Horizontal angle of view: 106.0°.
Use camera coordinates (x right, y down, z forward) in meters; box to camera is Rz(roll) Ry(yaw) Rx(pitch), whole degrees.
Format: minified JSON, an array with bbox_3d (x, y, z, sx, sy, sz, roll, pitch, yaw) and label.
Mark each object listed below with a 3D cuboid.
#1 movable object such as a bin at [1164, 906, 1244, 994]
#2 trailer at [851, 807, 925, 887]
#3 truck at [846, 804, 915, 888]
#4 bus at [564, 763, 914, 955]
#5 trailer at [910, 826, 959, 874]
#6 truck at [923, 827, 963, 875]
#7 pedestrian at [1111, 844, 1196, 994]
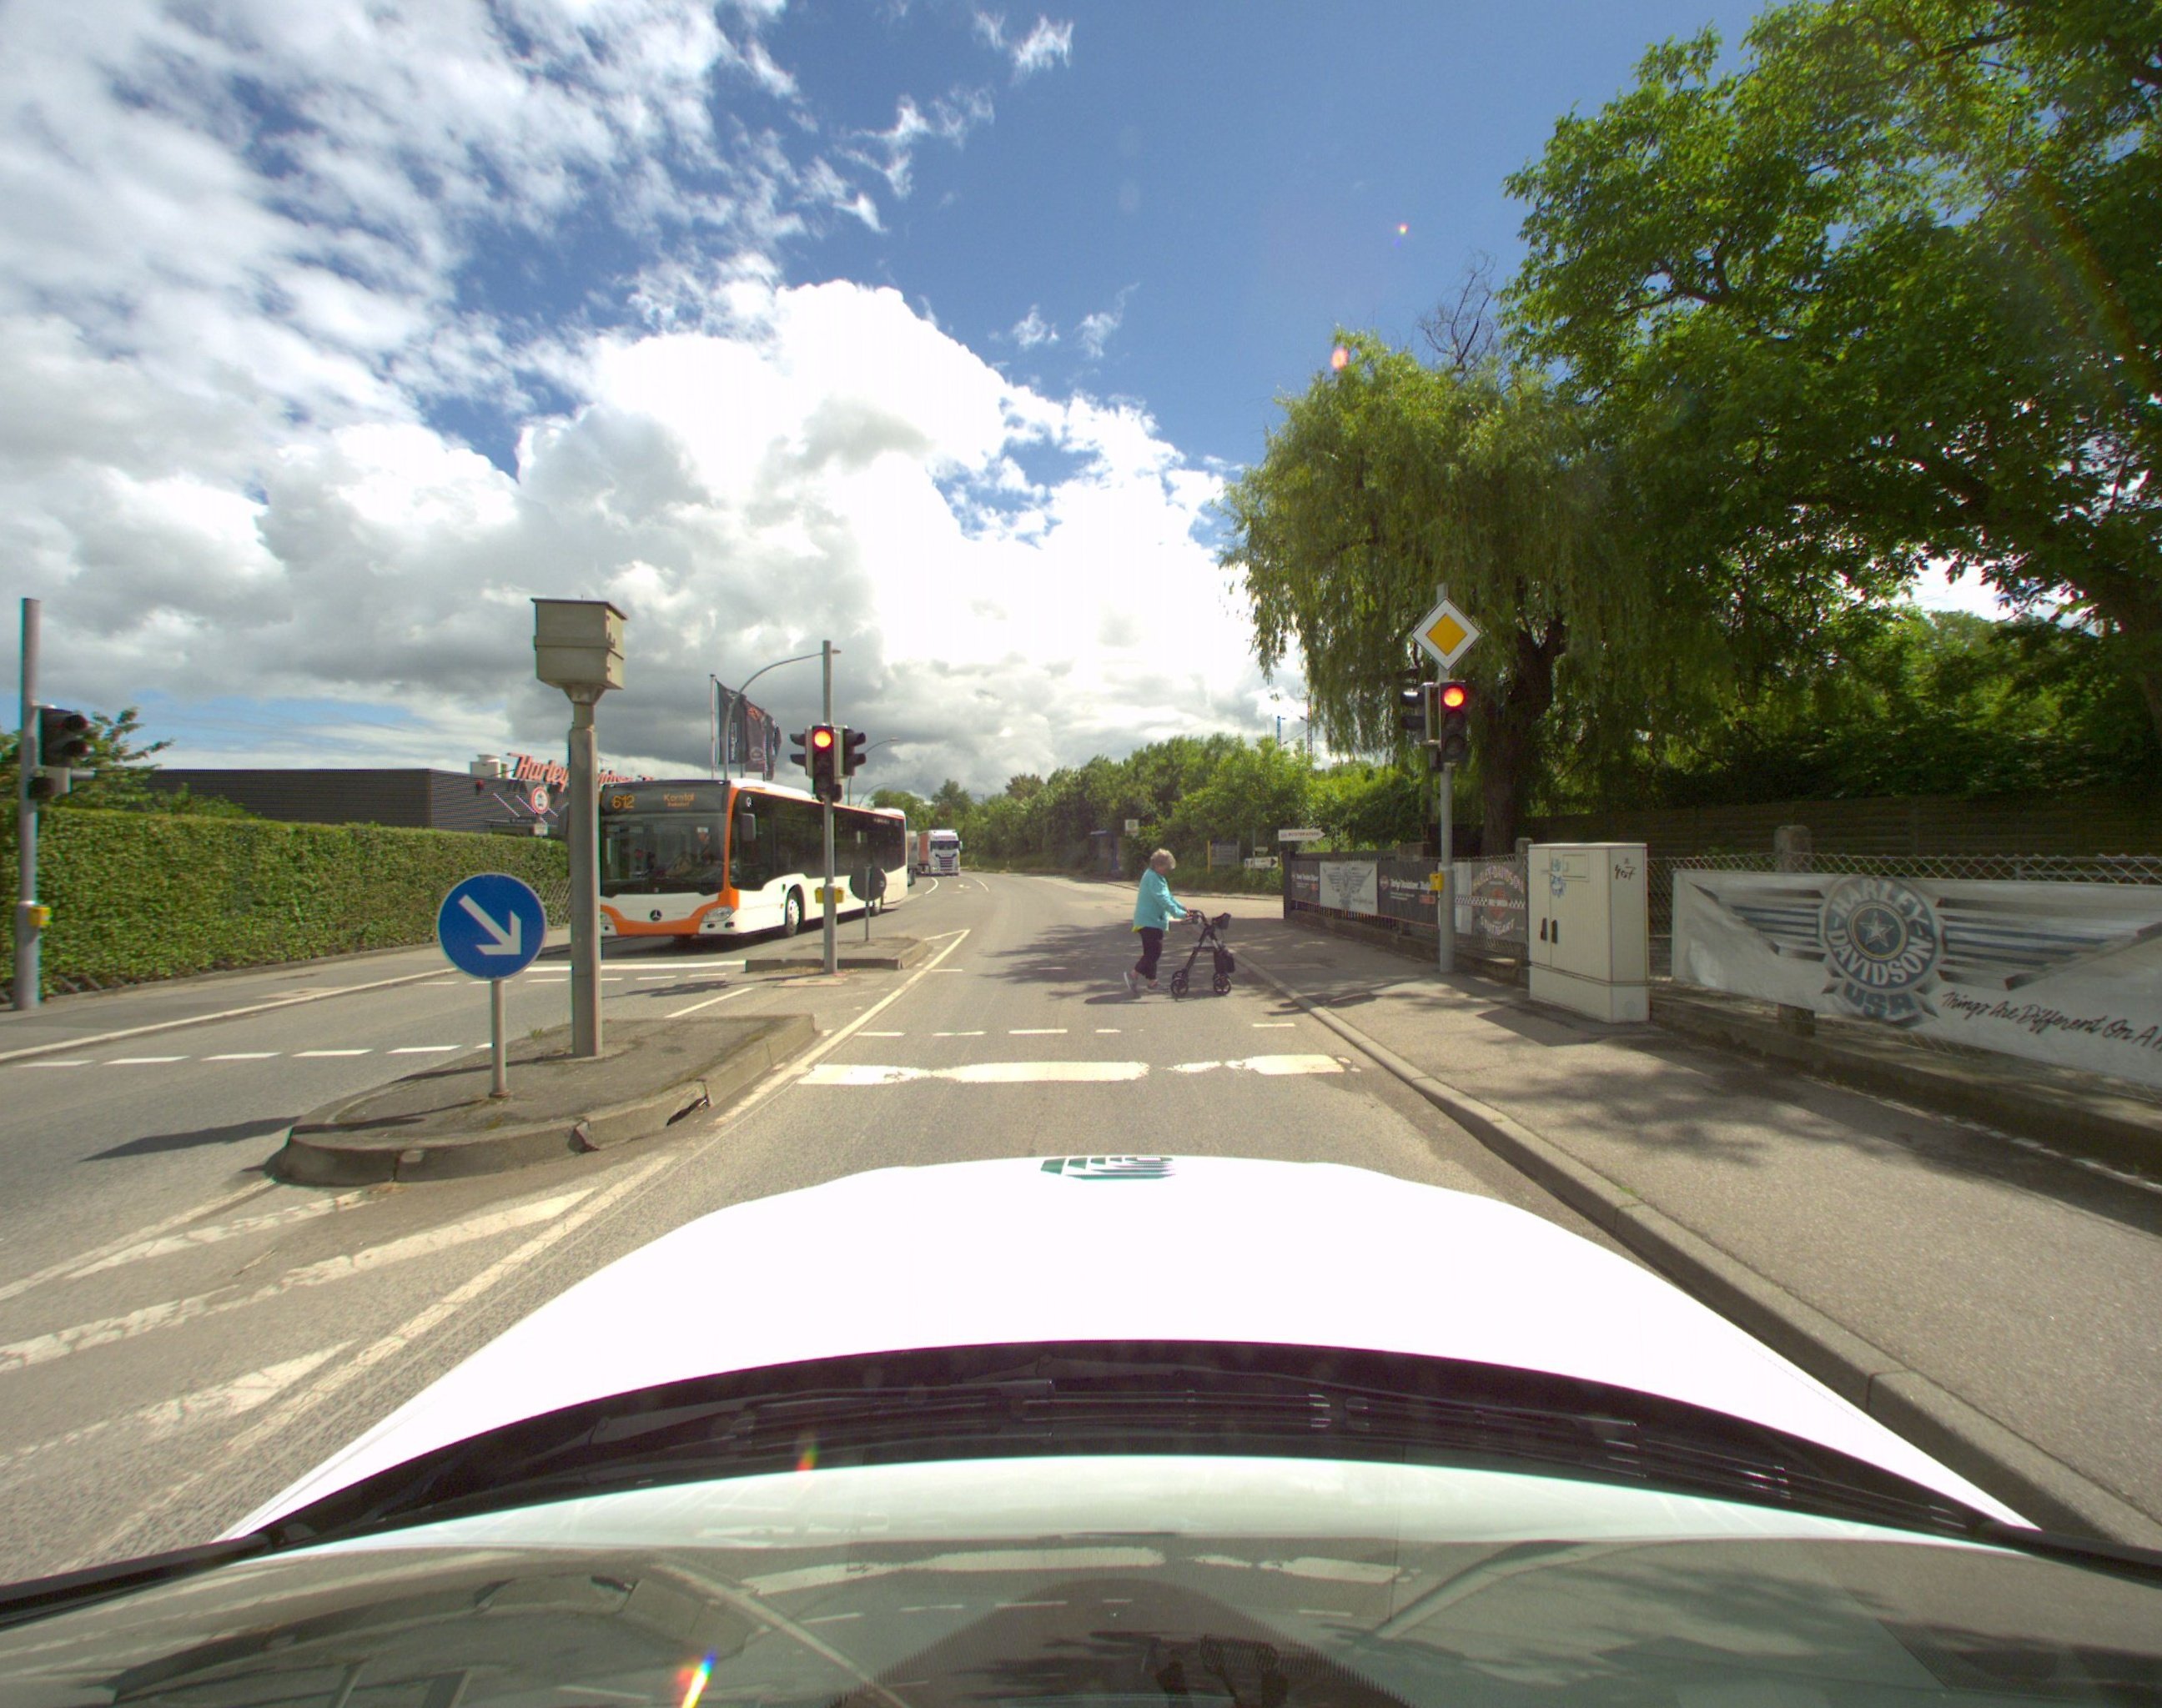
[{"bbox_3d":[1.318,1.017,8.824,0.744,0.871,0.670,0,-1,-2],"label":"movable object such as a bin"},{"bbox_3d":[-11.251,-0.294,49.017,2.797,4.053,15.512,0,0,-8],"label":"trailer"},{"bbox_3d":[-10.360,-0.352,42.582,2.797,4.053,6.483,0,-1,-8],"label":"truck"},{"bbox_3d":[-6.814,0.125,19.340,2.708,3.031,12.270,-2,-1,2],"label":"bus"},{"bbox_3d":[-14.368,-0.290,78.668,2.778,4.145,15.257,0,-1,-18],"label":"trailer"},{"bbox_3d":[-12.243,-0.236,71.989,2.779,4.119,4.956,0,-1,-18],"label":"truck"},{"bbox_3d":[0.768,0.676,8.820,0.836,1.543,0.733,0,-1,-2],"label":"pedestrian"}]
